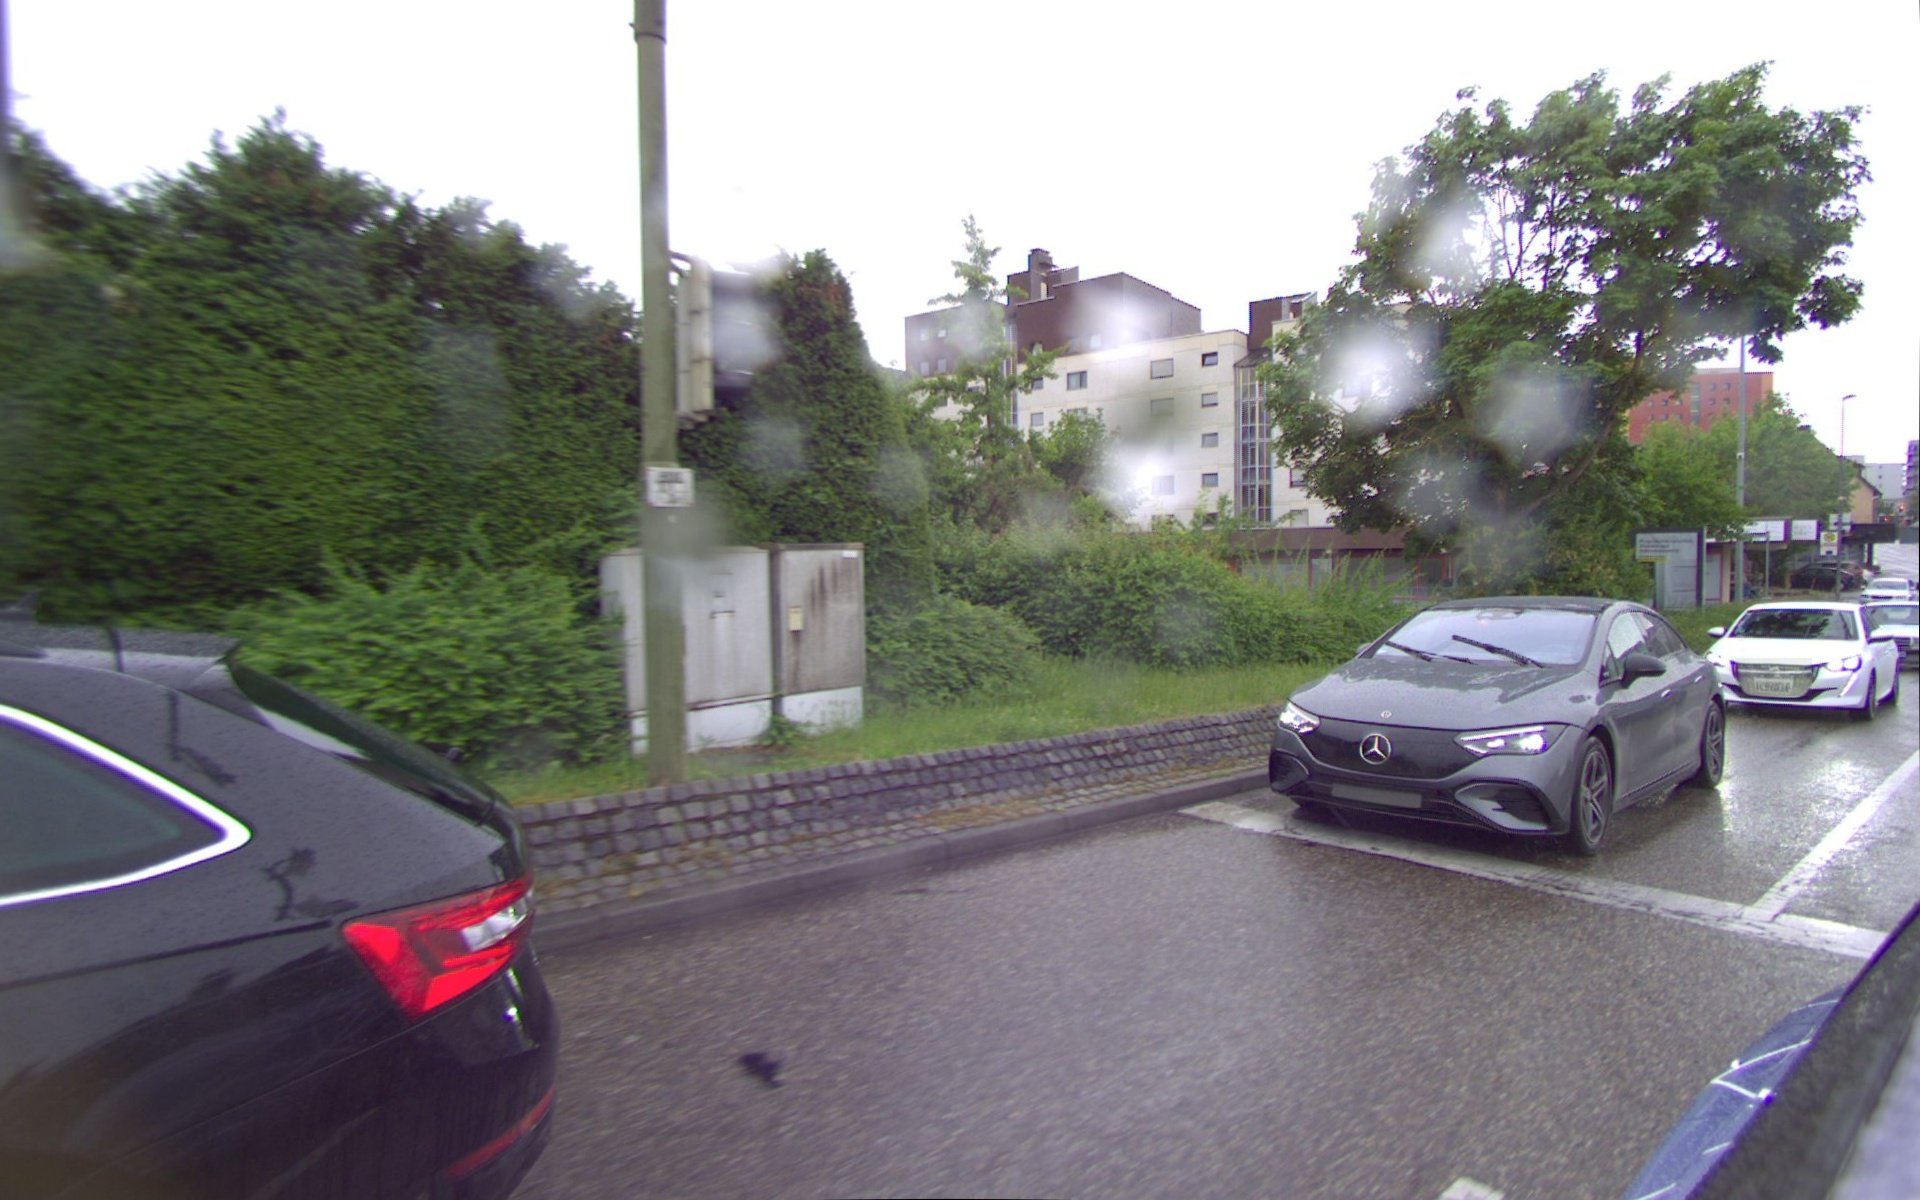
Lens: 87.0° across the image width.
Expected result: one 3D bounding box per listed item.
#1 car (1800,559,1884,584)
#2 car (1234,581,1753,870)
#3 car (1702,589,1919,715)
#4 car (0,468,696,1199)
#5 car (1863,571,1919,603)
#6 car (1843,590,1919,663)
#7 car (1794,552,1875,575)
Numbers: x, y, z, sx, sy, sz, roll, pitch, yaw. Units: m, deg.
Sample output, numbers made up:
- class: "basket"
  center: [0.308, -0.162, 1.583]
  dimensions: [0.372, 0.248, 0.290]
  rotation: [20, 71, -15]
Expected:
- class: "car"
  center: [56.612, -1.814, 65.057]
  dimensions: [3.981, 1.438, 1.972]
  rotation: [0, 1, 40]
- class: "car"
  center: [4.073, 0.623, 7.357]
  dimensions: [4.472, 1.462, 1.834]
  rotation: [-1, 0, -41]
- class: "car"
  center: [11.589, 0.590, 13.648]
  dimensions: [3.966, 1.415, 1.716]
  rotation: [-1, 0, -41]
- class: "car"
  center: [-2.836, 0.645, 1.133]
  dimensions: [4.529, 1.526, 1.956]
  rotation: [-1, -1, -41]
- class: "car"
  center: [43.630, -0.646, 46.997]
  dimensions: [3.737, 1.367, 1.998]
  rotation: [-1, 4, -41]
- class: "car"
  center: [20.018, 0.508, 21.251]
  dimensions: [3.670, 1.394, 1.716]
  rotation: [-1, 0, -41]
- class: "car"
  center: [57.907, -2.401, 67.080]
  dimensions: [3.981, 1.438, 1.678]
  rotation: [0, 1, 40]
